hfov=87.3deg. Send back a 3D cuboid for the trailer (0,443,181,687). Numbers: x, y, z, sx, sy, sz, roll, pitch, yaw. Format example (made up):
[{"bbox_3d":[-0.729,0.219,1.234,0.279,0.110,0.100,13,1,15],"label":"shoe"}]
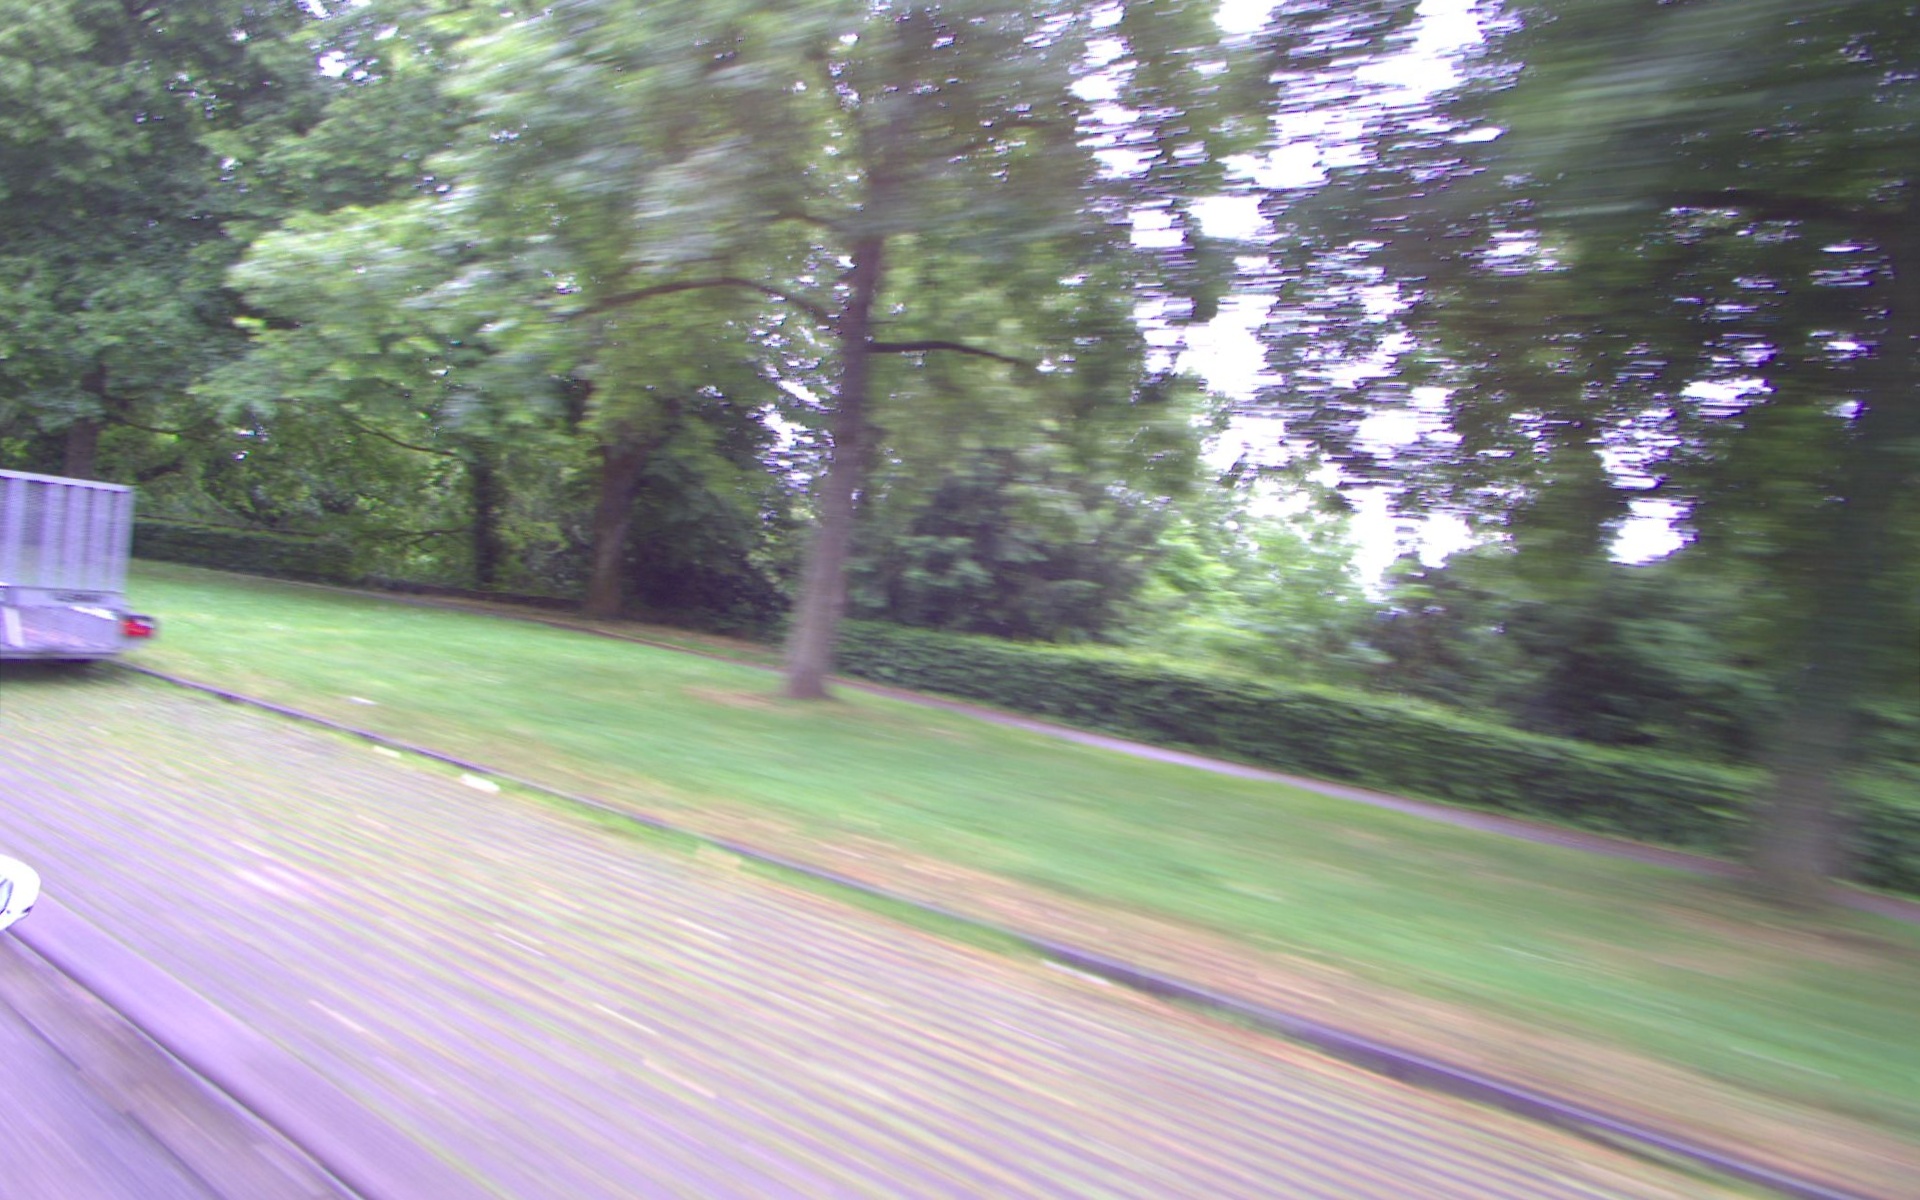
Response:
[{"bbox_3d":[-9.770,-0.499,8.893,5.792,1.835,2.453,5,0,30],"label":"trailer"}]
